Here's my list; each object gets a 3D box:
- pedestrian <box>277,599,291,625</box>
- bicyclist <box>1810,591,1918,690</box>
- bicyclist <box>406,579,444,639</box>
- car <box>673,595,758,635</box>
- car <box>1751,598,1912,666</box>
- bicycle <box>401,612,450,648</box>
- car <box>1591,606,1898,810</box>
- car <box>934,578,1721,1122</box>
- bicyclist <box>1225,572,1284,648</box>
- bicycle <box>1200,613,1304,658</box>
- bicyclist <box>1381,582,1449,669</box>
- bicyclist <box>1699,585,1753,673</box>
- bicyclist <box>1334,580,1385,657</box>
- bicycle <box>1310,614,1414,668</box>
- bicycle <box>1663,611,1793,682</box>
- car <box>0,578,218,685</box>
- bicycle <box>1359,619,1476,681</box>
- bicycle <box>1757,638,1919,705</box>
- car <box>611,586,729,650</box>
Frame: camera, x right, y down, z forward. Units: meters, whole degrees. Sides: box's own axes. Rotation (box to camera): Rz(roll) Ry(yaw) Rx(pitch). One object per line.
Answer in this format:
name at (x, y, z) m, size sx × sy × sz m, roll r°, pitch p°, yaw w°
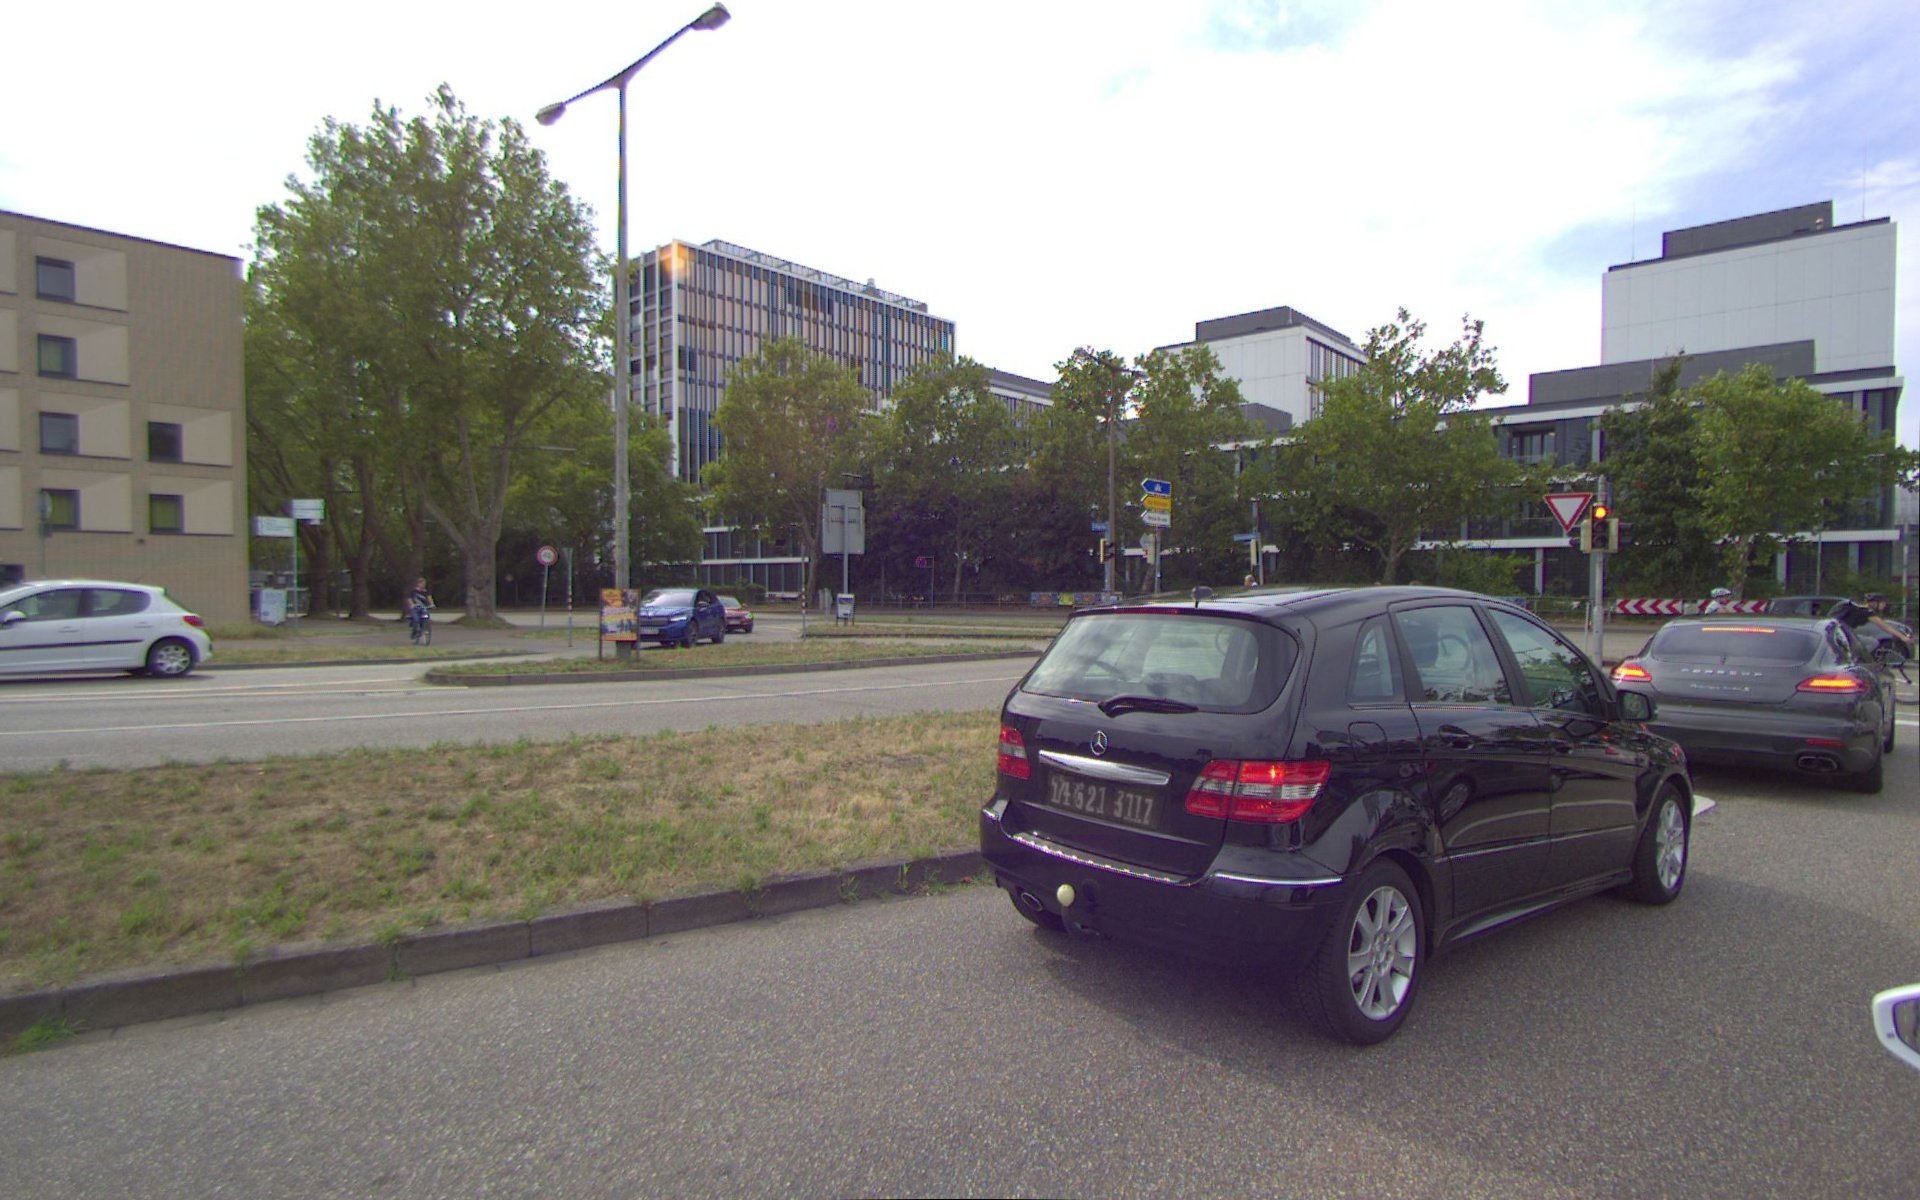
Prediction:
pedestrian at (-30.966, 0.544, 46.006) m, size 0.498 × 1.140 × 0.458 m, roll 0°, pitch 1°, yaw -39°
bicyclist at (13.680, 0.587, 15.234) m, size 1.097 × 1.456 × 0.646 m, roll 0°, pitch 1°, yaw 31°
bicyclist at (-14.847, 0.246, 27.853) m, size 0.736 × 1.636 × 0.909 m, roll 0°, pitch 1°, yaw -42°
car at (-9.421, 0.553, 38.538) m, size 1.928 × 1.399 × 4.177 m, roll 1°, pitch 0°, yaw -32°
car at (19.859, 0.691, 23.000) m, size 2.678 × 1.441 × 1.492 m, roll 1°, pitch 1°, yaw 40°
bicycle at (-14.812, 0.804, 27.810) m, size 0.736 × 0.921 × 2.093 m, roll 0°, pitch 0°, yaw -42°
car at (7.725, 0.807, 9.686) m, size 1.800 × 1.433 × 4.746 m, roll 2°, pitch 1°, yaw 44°
car at (1.988, 0.709, 4.876) m, size 4.000 × 1.596 × 1.743 m, roll -1°, pitch 2°, yaw -38°
bicyclist at (6.854, 0.230, 23.391) m, size 1.097 × 1.719 × 0.810 m, roll 1°, pitch 1°, yaw 35°
bicycle at (6.796, 0.813, 23.440) m, size 2.199 × 0.965 × 0.809 m, roll 1°, pitch 0°, yaw 36°
bicyclist at (8.404, 0.447, 18.542) m, size 1.004 × 1.560 × 0.625 m, roll 1°, pitch 1°, yaw 40°
bicyclist at (14.321, 0.520, 18.783) m, size 0.770 × 1.602 × 0.652 m, roll 1°, pitch 1°, yaw 39°
bicyclist at (8.228, 0.368, 20.677) m, size 0.828 × 1.550 × 0.626 m, roll 1°, pitch 1°, yaw 37°
bicycle at (8.242, 0.821, 20.640) m, size 1.877 × 1.027 × 0.626 m, roll 1°, pitch 1°, yaw 37°
bicycle at (14.335, 0.835, 18.791) m, size 1.878 × 1.226 × 0.640 m, roll 1°, pitch 1°, yaw 39°
car at (-13.528, 0.430, 14.754) m, size 1.702 × 1.464 × 3.866 m, roll 1°, pitch 0°, yaw 33°
bicycle at (8.425, 0.899, 18.546) m, size 1.878 × 1.027 × 0.625 m, roll 1°, pitch 1°, yaw 40°
bicycle at (13.747, 1.074, 15.204) m, size 2.547 × 0.902 × 0.703 m, roll 1°, pitch 1°, yaw 32°
car at (-7.889, 0.476, 27.810) m, size 1.911 × 1.581 × 4.464 m, roll 1°, pitch 0°, yaw 0°
